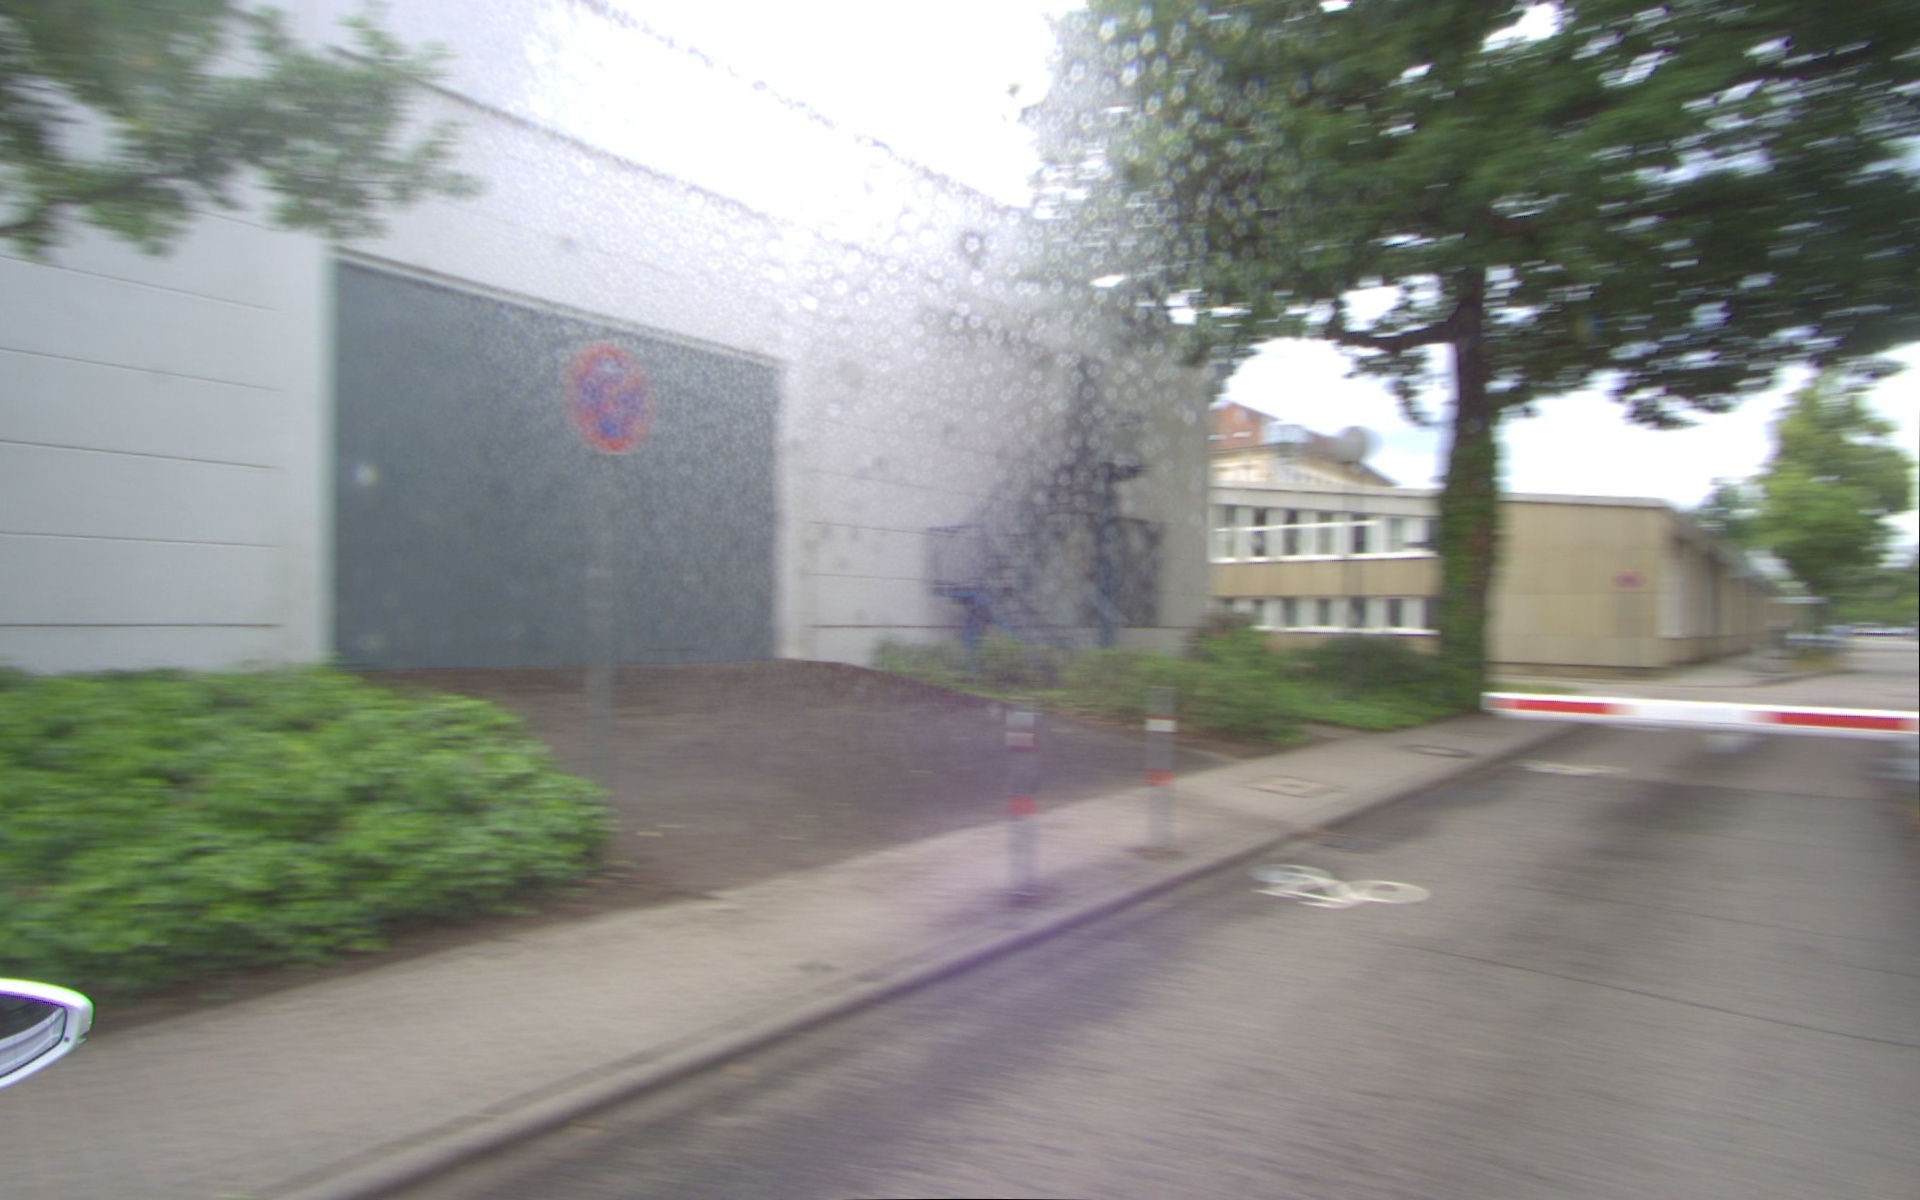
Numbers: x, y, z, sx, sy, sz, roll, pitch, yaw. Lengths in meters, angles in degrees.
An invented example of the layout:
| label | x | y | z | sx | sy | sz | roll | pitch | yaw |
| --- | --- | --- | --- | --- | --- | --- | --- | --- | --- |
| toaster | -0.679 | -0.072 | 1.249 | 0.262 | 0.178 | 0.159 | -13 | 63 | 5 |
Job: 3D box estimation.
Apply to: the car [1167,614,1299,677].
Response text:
| label | x | y | z | sx | sy | sz | roll | pitch | yaw |
| --- | --- | --- | --- | --- | --- | --- | --- | --- | --- |
| car | 7.419 | 1.184 | 27.014 | 1.848 | 1.550 | 3.968 | 1 | -1 | 42 |

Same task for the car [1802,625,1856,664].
| label | x | y | z | sx | sy | sz | roll | pitch | yaw |
| --- | --- | --- | --- | --- | --- | --- | --- | --- | --- |
| car | 39.293 | 1.986 | 45.299 | 1.755 | 1.622 | 3.968 | 1 | -1 | 41 |
